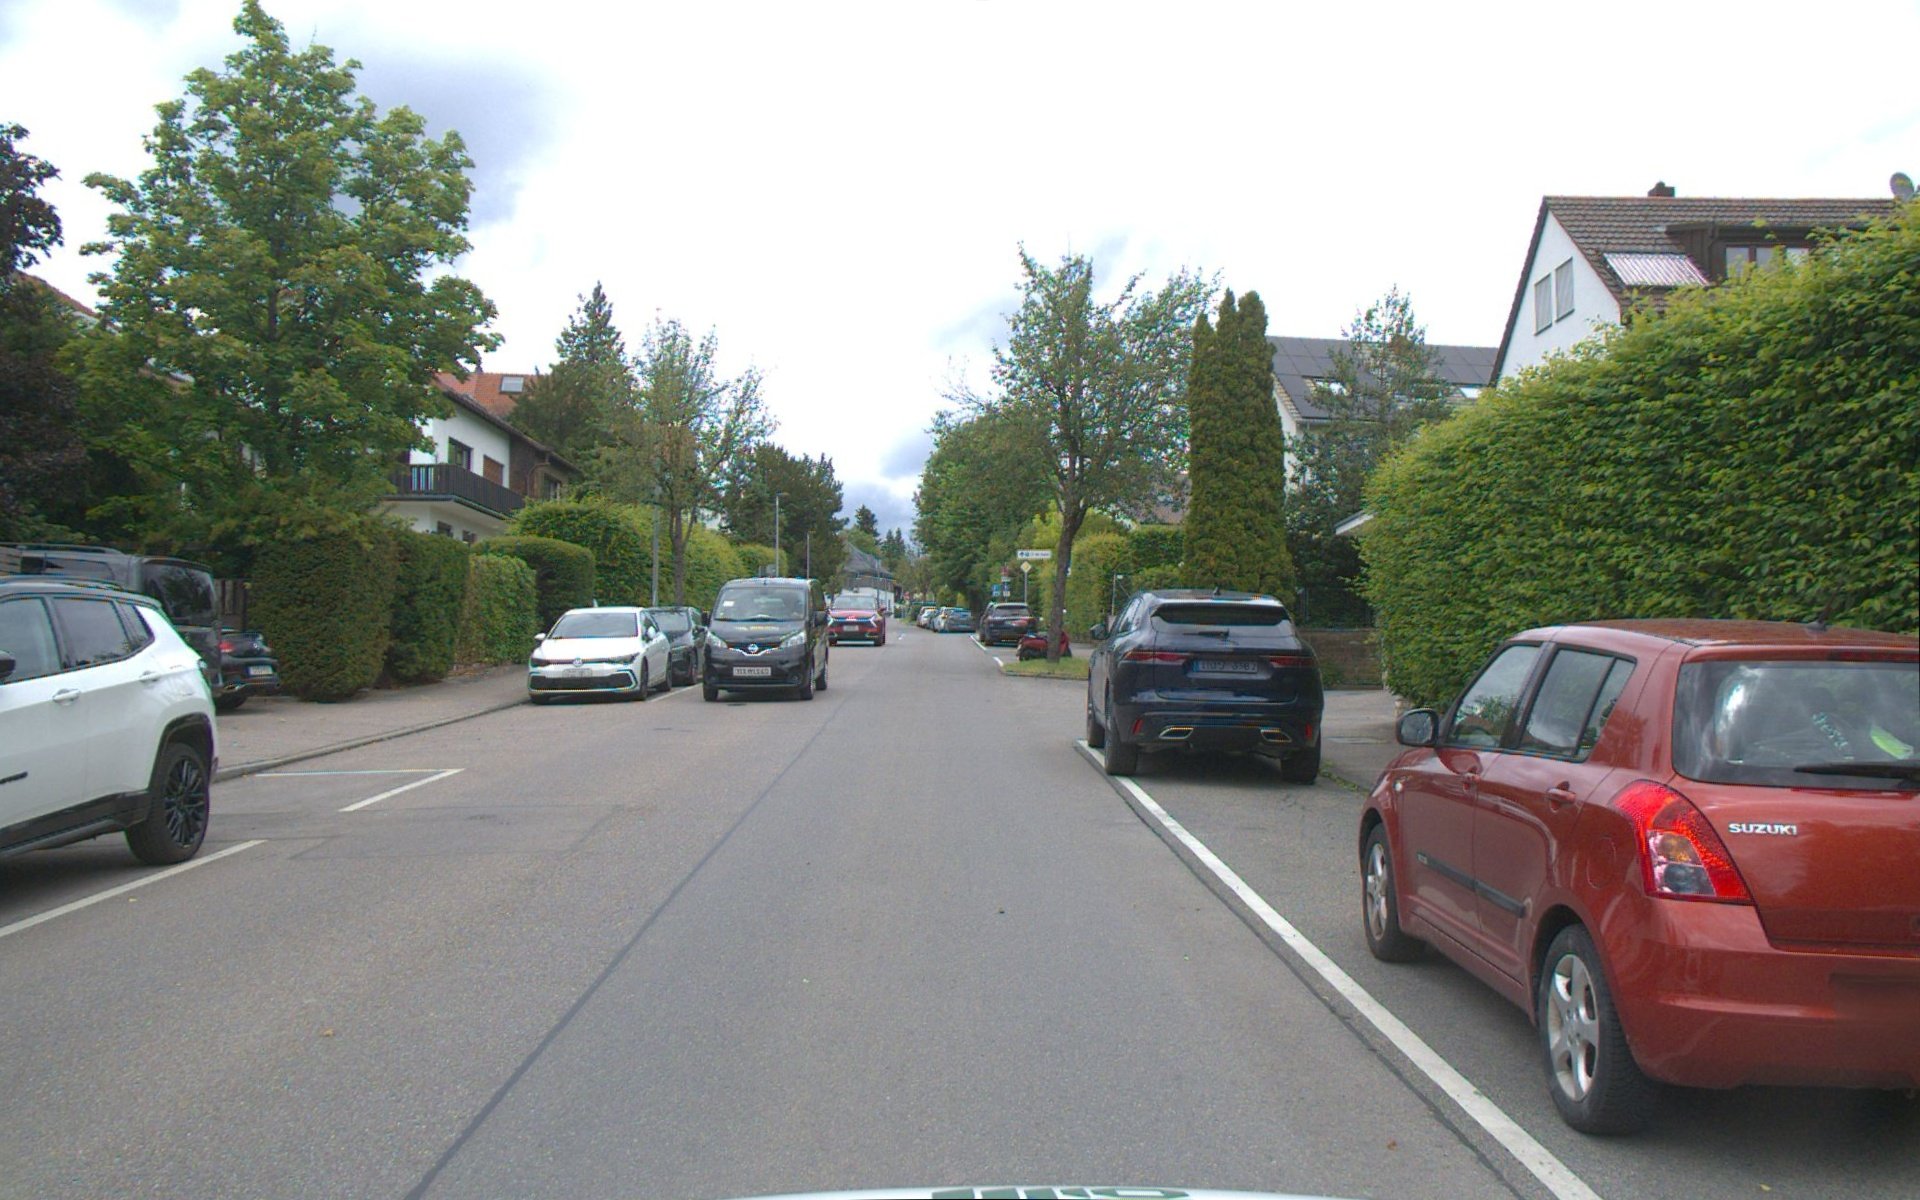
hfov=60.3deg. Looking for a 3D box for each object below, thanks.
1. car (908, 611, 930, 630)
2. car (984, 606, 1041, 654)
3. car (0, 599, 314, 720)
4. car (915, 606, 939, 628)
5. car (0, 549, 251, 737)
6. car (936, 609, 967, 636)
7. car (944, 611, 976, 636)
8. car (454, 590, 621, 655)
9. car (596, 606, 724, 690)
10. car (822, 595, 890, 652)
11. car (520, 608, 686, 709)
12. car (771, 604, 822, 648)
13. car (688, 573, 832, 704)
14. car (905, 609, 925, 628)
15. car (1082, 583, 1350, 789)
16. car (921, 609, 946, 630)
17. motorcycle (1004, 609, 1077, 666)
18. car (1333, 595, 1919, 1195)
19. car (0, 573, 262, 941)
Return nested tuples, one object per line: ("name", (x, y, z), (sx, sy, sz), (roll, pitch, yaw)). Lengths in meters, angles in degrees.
("car", (-3.514, 1.746, 140.853), (1.632, 1.527, 3.464), (0, 0, -5))
("car", (1.802, 1.020, 58.375), (1.844, 1.560, 4.475), (1, 0, 0))
("car", (-10.779, 0.746, 21.735), (3.902, 1.471, 1.780), (0, -1, 12))
("car", (-2.670, 1.349, 133.042), (1.632, 1.697, 3.464), (0, 0, -5))
("car", (-10.433, 0.487, 18.660), (3.986, 1.984, 2.001), (0, -2, 7))
("car", (-0.570, 1.423, 106.134), (1.680, 1.686, 3.618), (0, 0, -5))
("car", (-0.013, 1.432, 101.704), (1.632, 1.527, 3.464), (0, 0, -5))
("car", (-11.280, 0.594, 44.326), (3.904, 1.560, 1.788), (2, 0, 3))
("car", (-5.633, 0.878, 31.500), (1.692, 1.448, 4.078), (-1, -1, -1))
("car", (-3.283, 0.722, 52.691), (1.902, 1.676, 4.256), (-2, 0, -1))
("car", (-5.663, 0.882, 26.734), (1.800, 1.447, 4.406), (-2, 0, -2))
("car", (-6.141, 0.954, 62.363), (1.597, 1.550, 3.637), (-2, 0, -1))
("car", (-3.092, 0.575, 26.380), (1.847, 1.883, 4.400), (-1, 0, -1))
("car", (-4.071, 1.673, 148.313), (1.611, 1.697, 3.464), (0, 0, -5))
("car", (2.305, 0.742, 16.069), (1.952, 1.646, 4.514), (2, -1, 1))
("car", (-2.016, 1.497, 126.311), (1.632, 1.527, 3.464), (0, 0, -5))
("motorcycle", (1.998, 0.912, 40.761), (1.848, 1.370, 0.592), (0, -1, -37))
("car", (2.642, 0.757, 6.128), (1.627, 1.534, 3.757), (0, 0, -1))
("car", (-5.339, 0.748, 8.274), (1.800, 1.695, 4.408), (-2, 0, 0))
